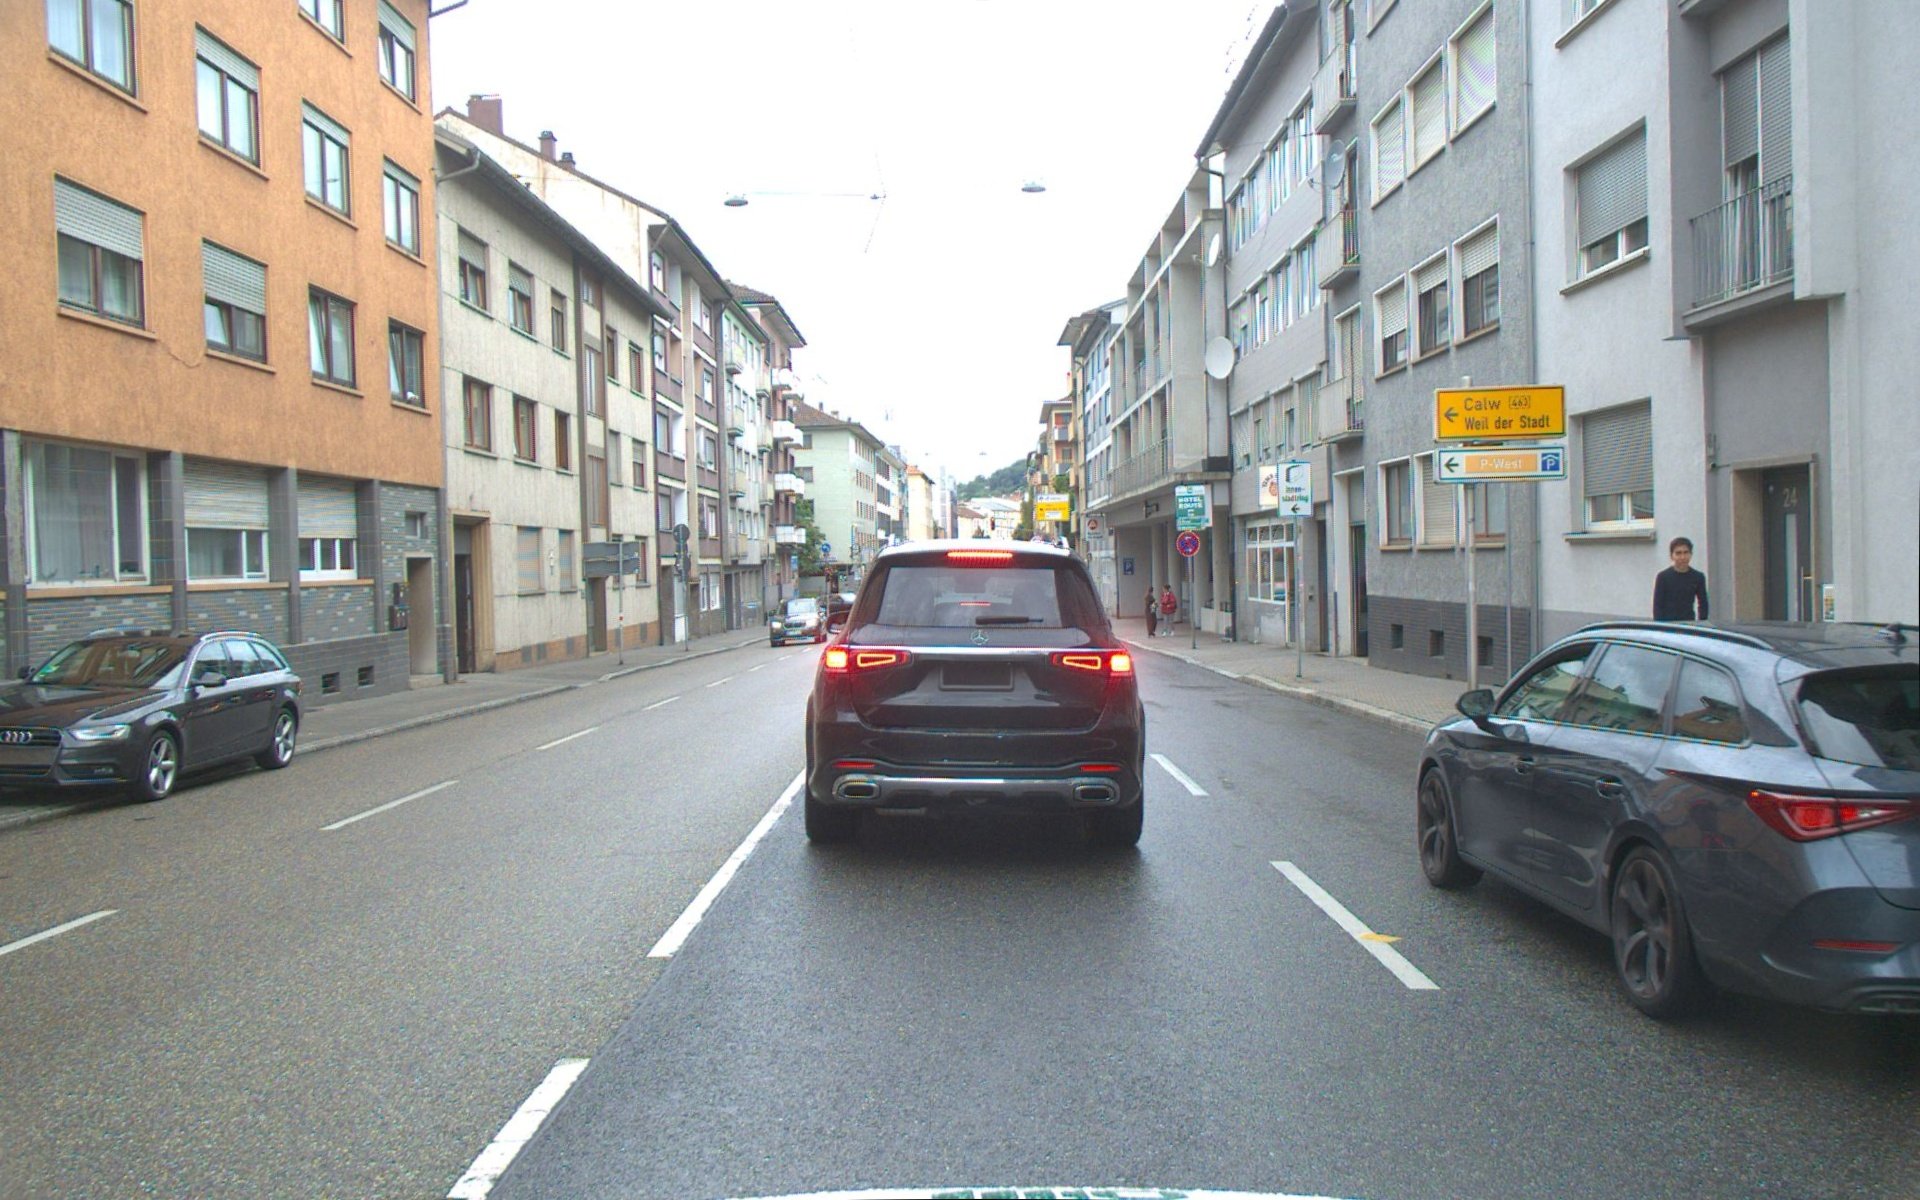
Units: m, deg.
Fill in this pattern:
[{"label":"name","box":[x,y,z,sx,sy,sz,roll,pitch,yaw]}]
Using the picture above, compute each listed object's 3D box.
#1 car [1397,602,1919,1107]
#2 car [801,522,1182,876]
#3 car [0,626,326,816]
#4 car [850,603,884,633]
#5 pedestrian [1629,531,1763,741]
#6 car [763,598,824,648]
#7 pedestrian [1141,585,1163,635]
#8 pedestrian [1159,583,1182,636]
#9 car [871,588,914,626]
[{"label":"car","box":[3.274,0.770,7.072,1.588,1.455,4.311,1,0,-1]},{"label":"car","box":[0.137,0.517,10.768,1.984,1.837,3.999,1,0,-1]},{"label":"car","box":[-7.925,1.049,16.143,1.759,1.463,4.526,1,0,-1]},{"label":"car","box":[-5.483,1.025,97.865,1.761,1.612,4.314,-3,0,-2]},{"label":"pedestrian","box":[6.687,0.312,15.074,0.630,1.808,1.056,-4,0,-1]},{"label":"car","box":[-5.674,0.748,56.790,1.668,1.533,4.158,-4,0,-1]},{"label":"pedestrian","box":[5.975,0.312,51.432,0.496,1.526,0.562,-4,0,-2]},{"label":"pedestrian","box":[6.549,0.288,51.547,0.549,1.606,0.526,-4,0,-2]},{"label":"car","box":[-3.350,0.323,82.816,1.798,1.757,4.475,-4,0,1]}]
